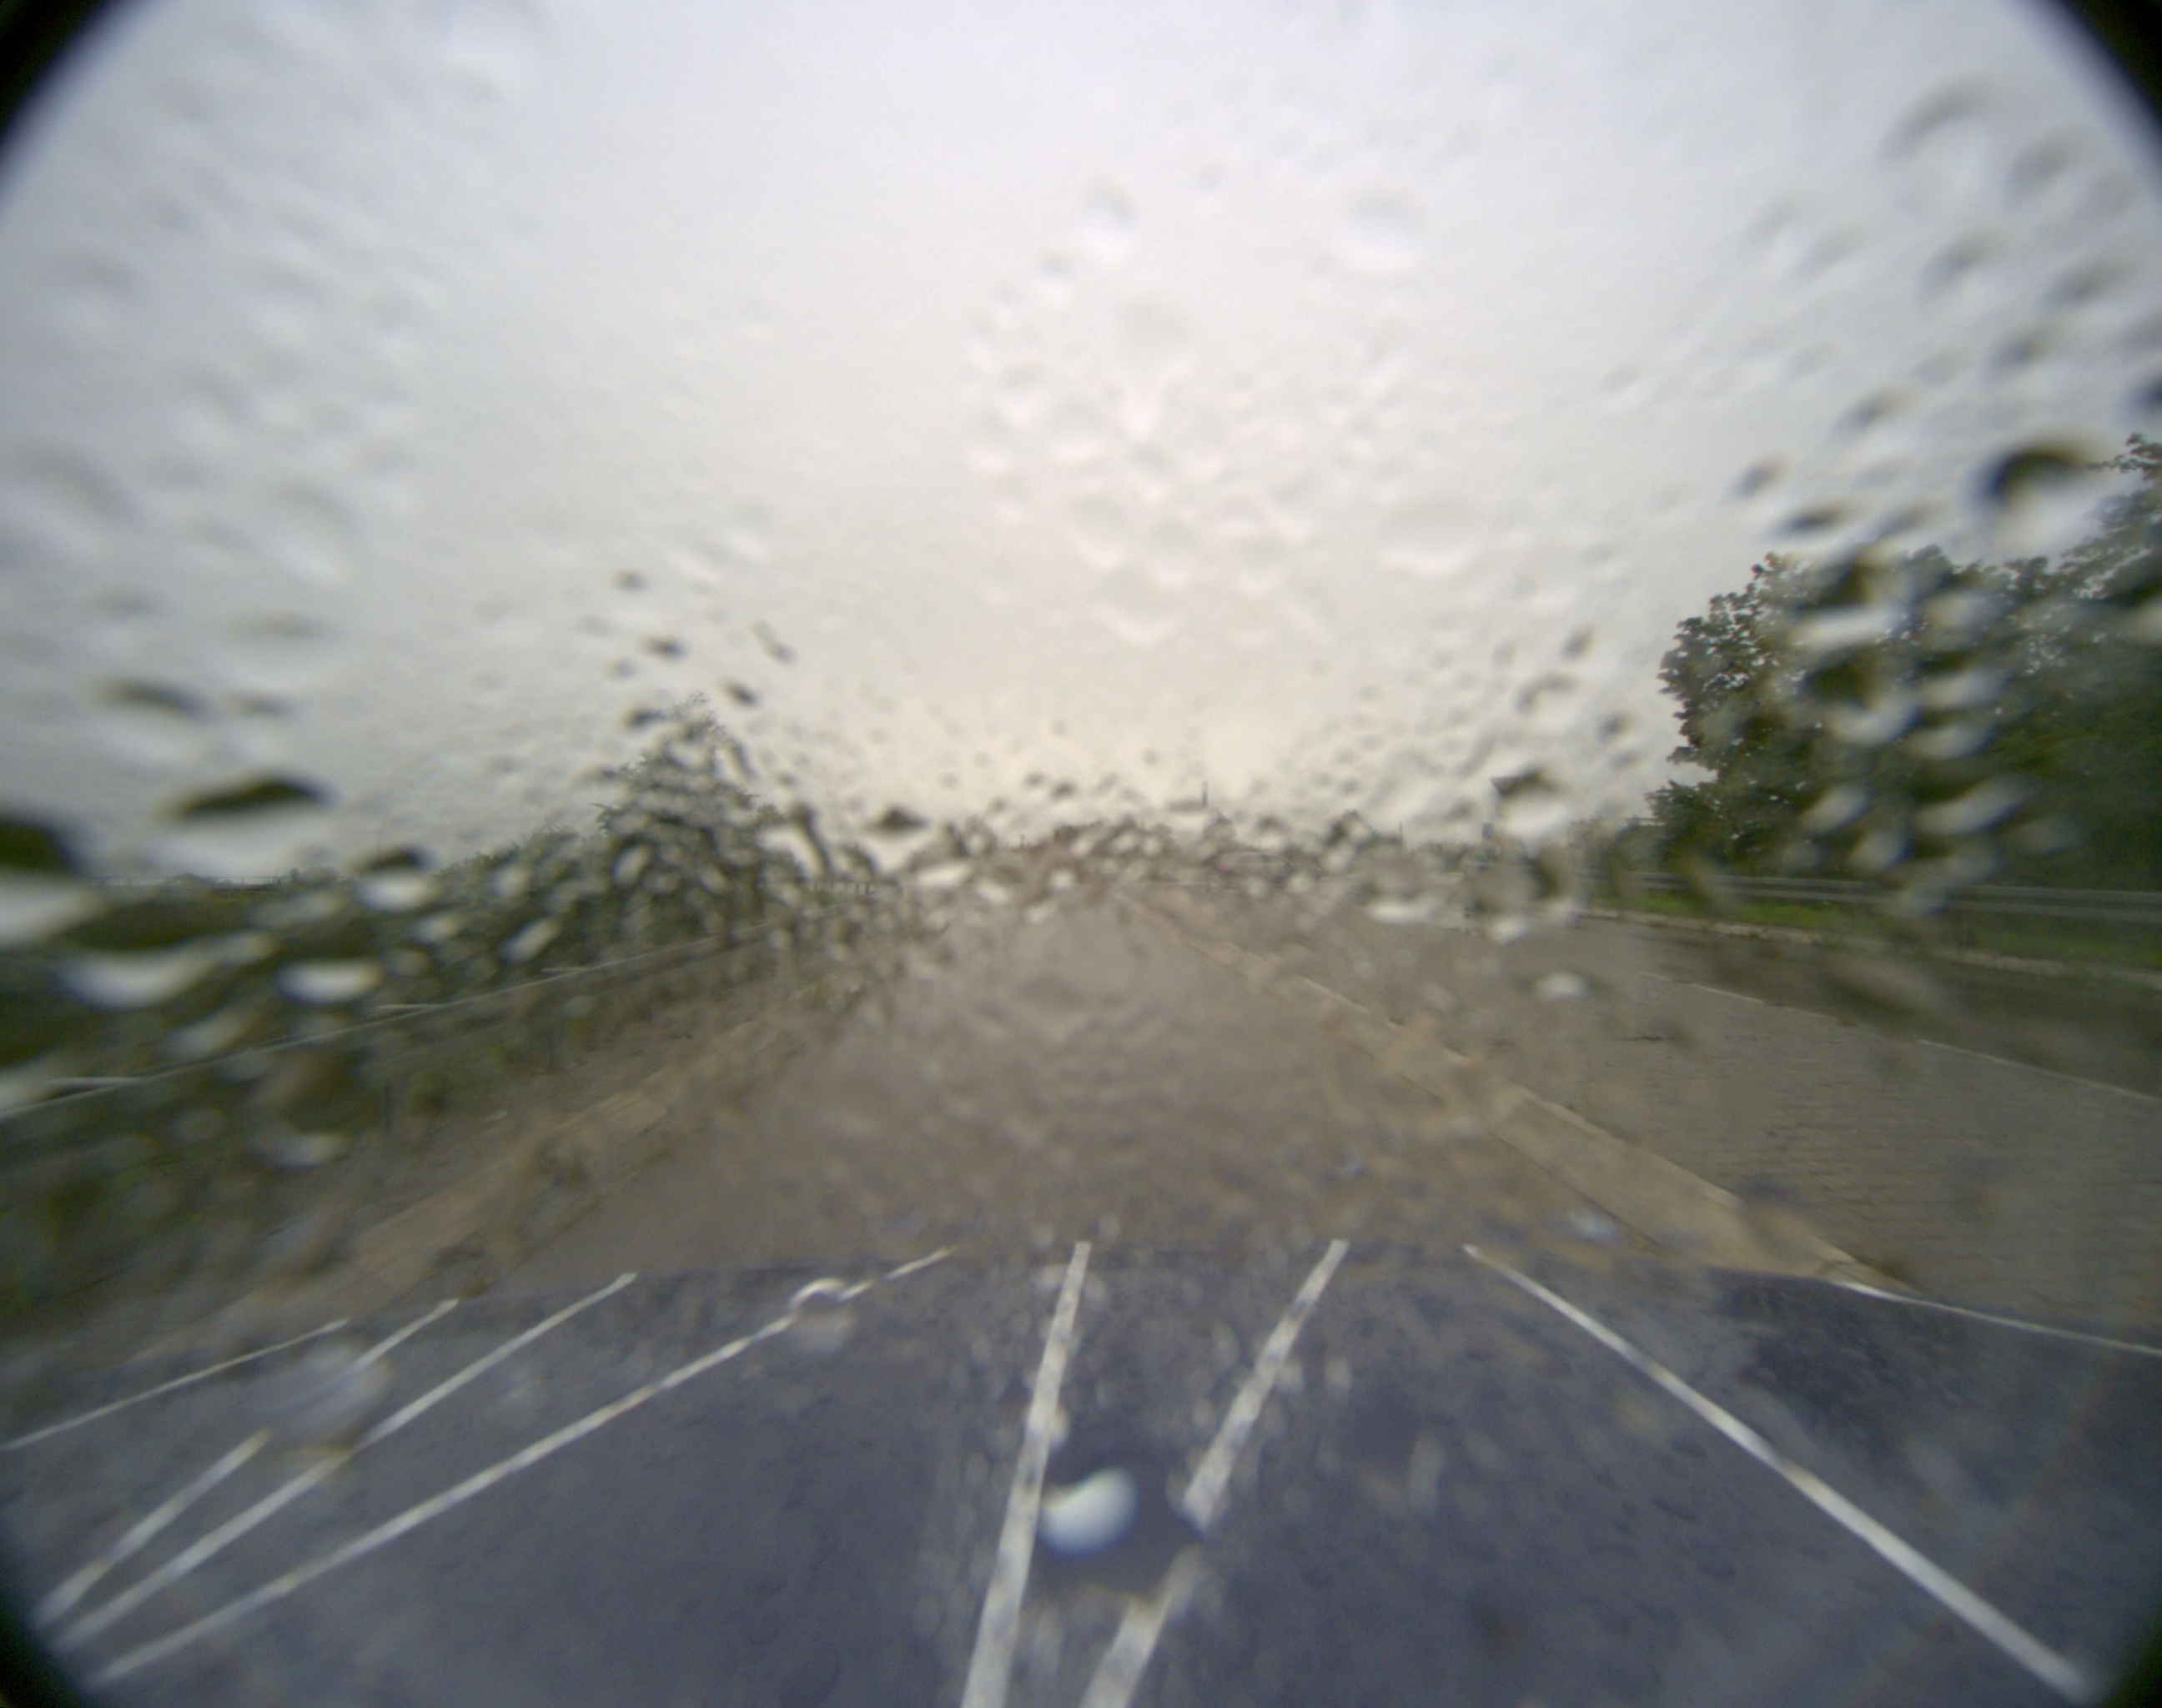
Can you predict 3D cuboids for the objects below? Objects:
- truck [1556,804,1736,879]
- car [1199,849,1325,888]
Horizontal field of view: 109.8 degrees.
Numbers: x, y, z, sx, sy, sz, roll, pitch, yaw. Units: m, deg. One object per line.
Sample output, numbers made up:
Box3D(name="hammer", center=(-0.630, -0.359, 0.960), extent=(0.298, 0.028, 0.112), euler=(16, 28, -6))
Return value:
Box3D(name="truck", center=(30.813, -0.598, 41.475), extent=(8.828, 3.827, 3.046), euler=(0, -2, -16))
Box3D(name="car", center=(7.270, 0.538, 30.722), extent=(4.566, 1.361, 1.908), euler=(-2, 2, -12))
